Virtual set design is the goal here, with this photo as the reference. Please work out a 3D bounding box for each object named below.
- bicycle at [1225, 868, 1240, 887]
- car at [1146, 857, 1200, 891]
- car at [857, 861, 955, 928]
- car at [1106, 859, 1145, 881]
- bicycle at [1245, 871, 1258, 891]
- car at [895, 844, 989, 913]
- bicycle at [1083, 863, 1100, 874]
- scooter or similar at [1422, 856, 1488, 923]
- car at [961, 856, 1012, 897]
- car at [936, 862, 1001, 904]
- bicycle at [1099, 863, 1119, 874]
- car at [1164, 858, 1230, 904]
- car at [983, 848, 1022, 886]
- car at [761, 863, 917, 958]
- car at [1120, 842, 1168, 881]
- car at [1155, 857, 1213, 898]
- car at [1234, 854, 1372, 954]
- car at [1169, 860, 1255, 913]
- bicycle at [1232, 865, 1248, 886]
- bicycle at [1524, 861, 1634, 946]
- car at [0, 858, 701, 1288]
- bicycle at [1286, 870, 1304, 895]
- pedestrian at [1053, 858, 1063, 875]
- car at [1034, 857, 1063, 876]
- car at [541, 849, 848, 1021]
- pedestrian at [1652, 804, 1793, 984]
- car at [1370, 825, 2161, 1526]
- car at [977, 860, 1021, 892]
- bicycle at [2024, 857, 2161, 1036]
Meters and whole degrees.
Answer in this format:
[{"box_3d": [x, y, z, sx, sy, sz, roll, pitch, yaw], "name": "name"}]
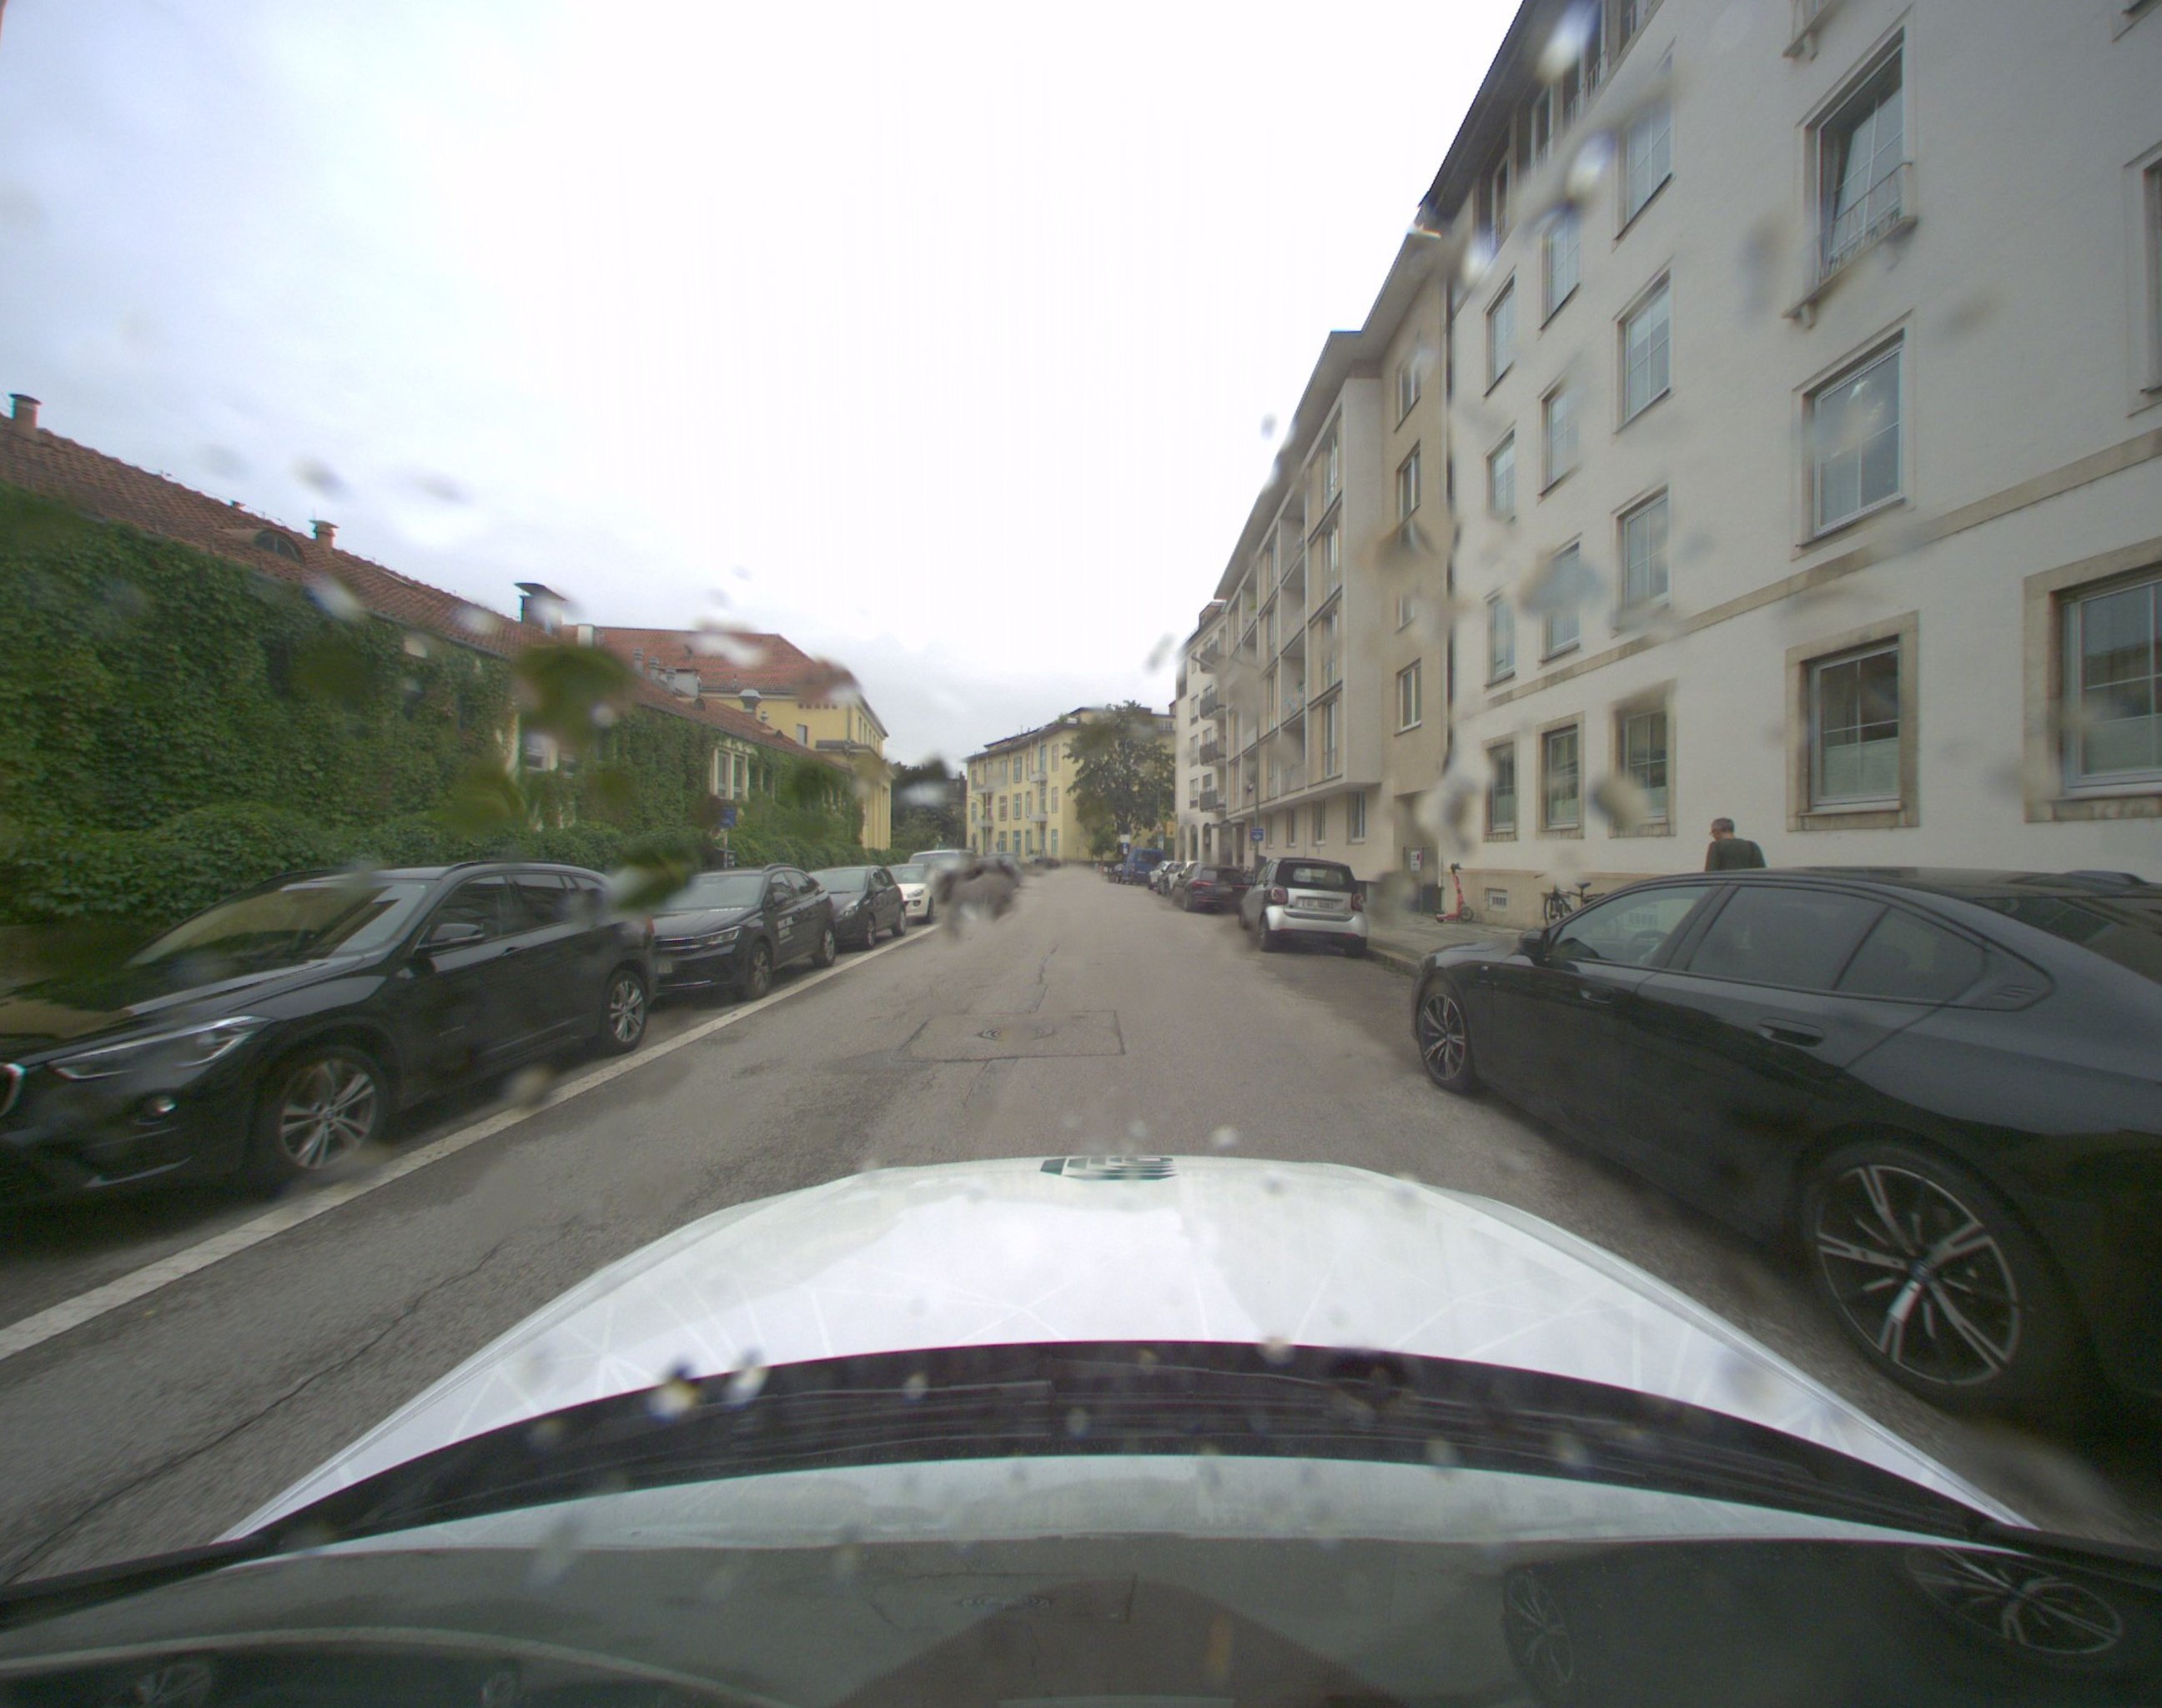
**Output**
[{"box_3d": [7.977, 1.234, 42.941, 0.454, 0.923, 1.734, 0, 0, -2], "name": "bicycle"}, {"box_3d": [4.491, 0.938, 40.320, 1.782, 1.533, 4.641, 3, 0, -4], "name": "car"}, {"box_3d": [-4.315, 0.950, 20.639, 1.586, 1.441, 4.017, -3, 0, -1], "name": "car"}, {"box_3d": [3.119, 1.122, 58.165, 1.677, 1.389, 4.289, 4, -1, -11], "name": "car"}, {"box_3d": [8.027, 1.253, 38.328, 0.376, 0.905, 1.392, 0, 0, 2], "name": "bicycle"}, {"box_3d": [-4.279, 0.707, 25.824, 1.880, 1.889, 4.776, -3, 0, 2], "name": "car"}, {"box_3d": [1.181, 1.606, 89.531, 1.903, 1.201, 0.599, 0, -1, 37], "name": "bicycle"}, {"box_3d": [7.927, 0.748, 17.325, 0.439, 1.359, 1.584, 0, -3, -10], "name": "scooter or similar"}, {"box_3d": [-4.163, 0.967, 36.401, 1.692, 1.643, 4.489, -3, 0, 0], "name": "car"}, {"box_3d": [-4.273, 1.068, 31.640, 1.647, 1.414, 4.772, -3, 0, 1], "name": "car"}, {"box_3d": [3.047, 1.559, 88.334, 2.052, 1.201, 0.597, 0, 0, 14], "name": "bicycle"}, {"box_3d": [4.169, 0.930, 29.957, 1.689, 1.489, 4.578, 2, 0, -1], "name": "car"}, {"box_3d": [-4.462, 0.736, 46.961, 2.069, 1.964, 5.341, -2, -1, -4], "name": "car"}, {"box_3d": [-4.363, 0.944, 15.385, 1.598, 1.430, 4.251, -3, 0, 0], "name": "car"}, {"box_3d": [3.971, 0.546, 52.019, 2.076, 2.234, 5.234, 4, -3, -5], "name": "car"}, {"box_3d": [4.332, 0.950, 34.989, 1.873, 1.522, 5.164, 3, 0, 1], "name": "car"}, {"box_3d": [3.750, 0.785, 14.220, 1.644, 1.495, 2.882, 3, 0, 1], "name": "car"}, {"box_3d": [3.892, 0.908, 25.015, 1.740, 1.388, 4.951, 2, 0, -1], "name": "car"}, {"box_3d": [8.510, 1.137, 43.556, 0.454, 1.110, 1.853, 0, 0, -2], "name": "bicycle"}, {"box_3d": [7.839, 0.729, 12.928, 0.527, 1.218, 2.104, 0, 0, 2], "name": "bicycle"}, {"box_3d": [-4.578, 0.869, 5.454, 1.784, 1.586, 4.816, -3, 0, -1], "name": "car"}, {"box_3d": [8.344, 1.105, 31.764, 0.376, 0.905, 1.392, 0, 0, 2], "name": "bicycle"}, {"box_3d": [-2.487, 1.367, 88.811, 0.877, 1.823, 0.793, 0, -1, -20], "name": "pedestrian"}, {"box_3d": [-3.558, 1.391, 88.608, 1.769, 1.874, 4.348, 4, -1, -21], "name": "car"}, {"box_3d": [-4.468, 0.813, 10.312, 1.719, 1.629, 4.464, -3, 0, -1], "name": "car"}, {"box_3d": [6.625, 0.412, 8.469, 0.720, 1.764, 0.905, 0, -3, 2], "name": "pedestrian"}, {"box_3d": [3.234, 0.726, 3.917, 1.796, 1.484, 5.319, 3, 0, 0], "name": "car"}, {"box_3d": [-4.156, 1.068, 41.707, 1.689, 1.393, 4.499, -4, 0, 0], "name": "car"}, {"box_3d": [7.704, 0.641, 5.390, 0.512, 1.222, 1.985, 0, 0, -6], "name": "bicycle"}]
